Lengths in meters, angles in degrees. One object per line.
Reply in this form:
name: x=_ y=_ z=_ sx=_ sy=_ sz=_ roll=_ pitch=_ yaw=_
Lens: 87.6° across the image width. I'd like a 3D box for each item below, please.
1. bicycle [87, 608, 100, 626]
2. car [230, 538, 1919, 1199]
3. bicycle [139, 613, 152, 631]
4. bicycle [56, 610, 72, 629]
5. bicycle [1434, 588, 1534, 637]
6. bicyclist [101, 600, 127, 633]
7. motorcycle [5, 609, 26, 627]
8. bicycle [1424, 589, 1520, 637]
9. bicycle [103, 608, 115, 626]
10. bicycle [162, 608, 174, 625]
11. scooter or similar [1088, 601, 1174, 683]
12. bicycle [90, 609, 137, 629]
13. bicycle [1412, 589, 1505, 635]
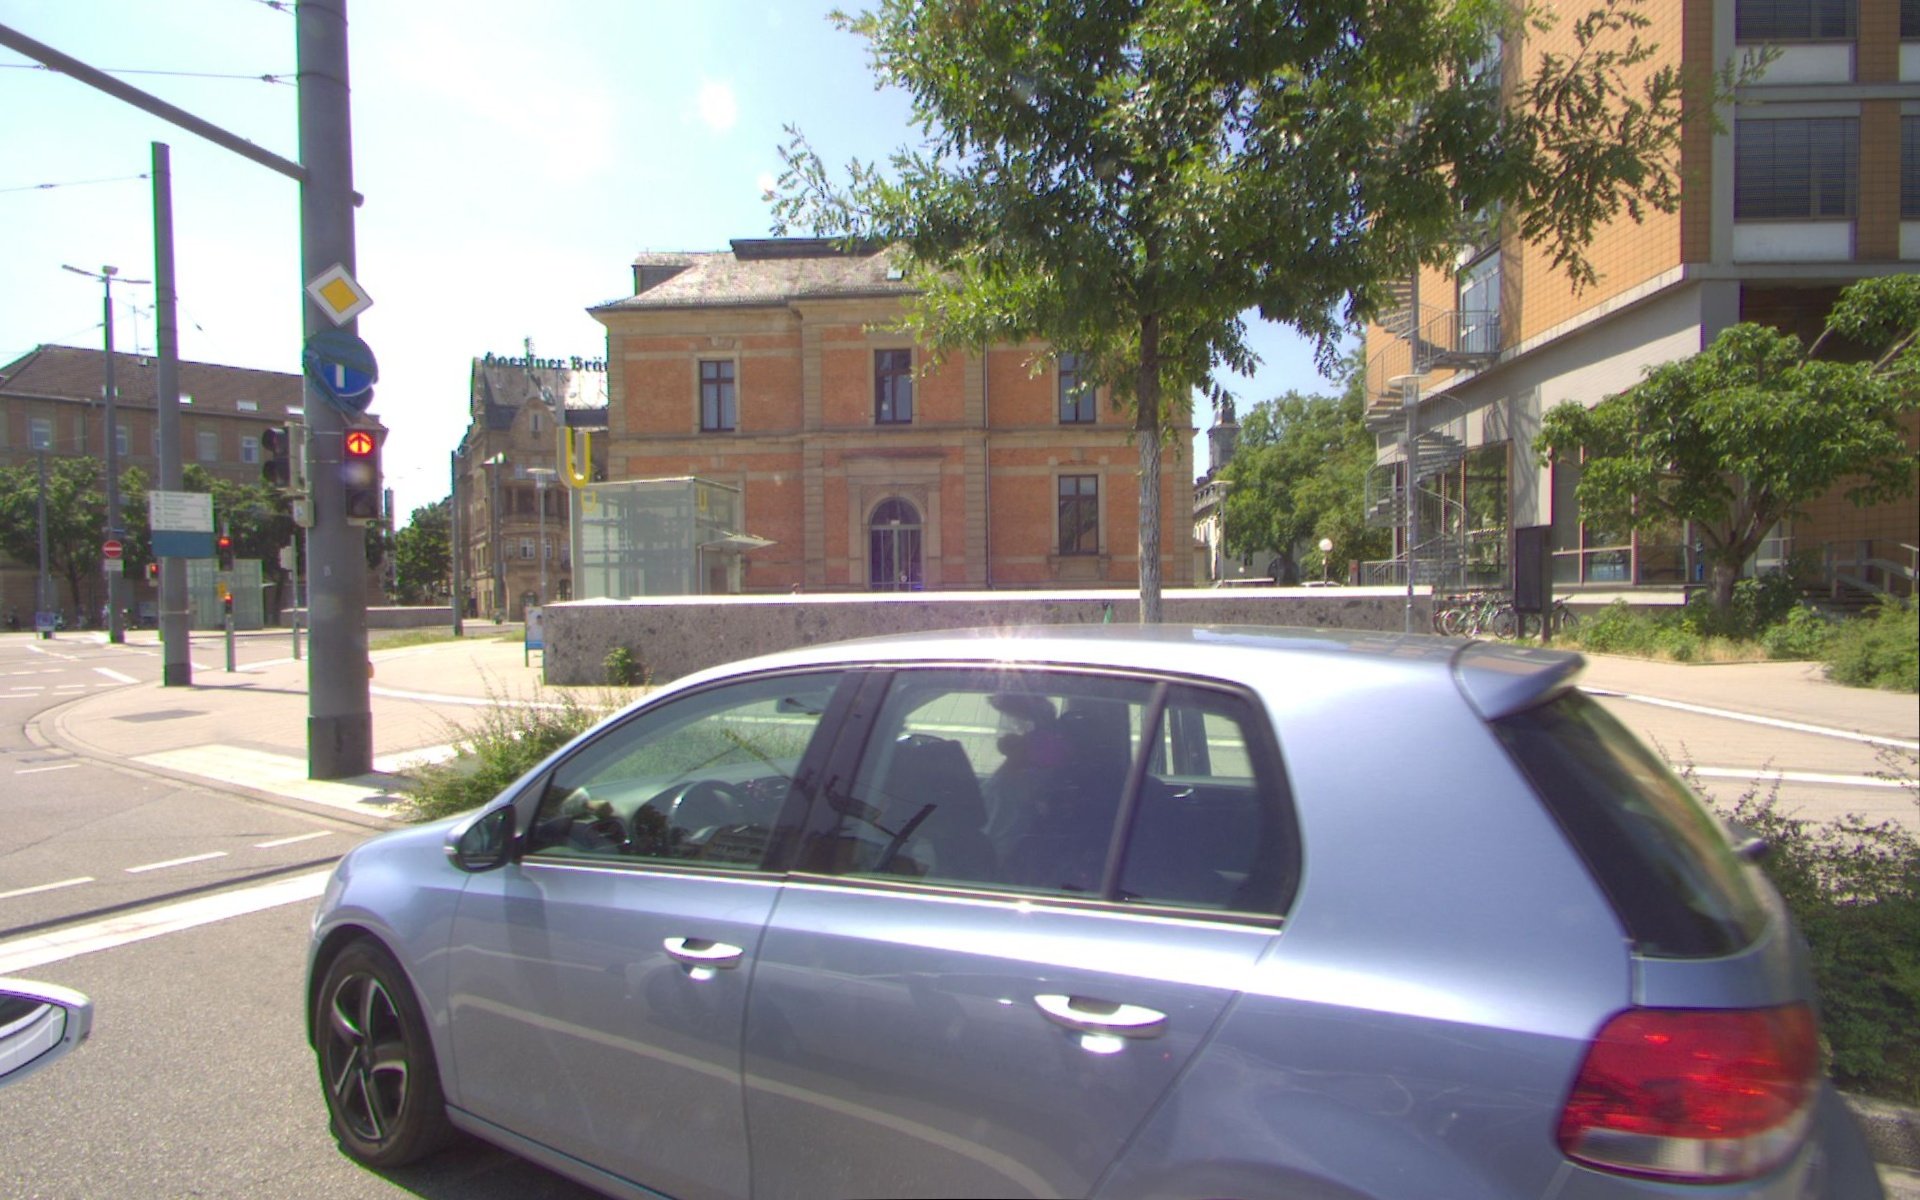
bicycle: x=-54.091 y=1.045 z=62.501 sx=0.547 sy=1.135 sz=1.803 roll=-1 pitch=1 yaw=-43
car: x=-0.114 y=0.707 z=2.676 sx=3.946 sy=1.478 sz=1.648 roll=0 pitch=-1 yaw=33
bicycle: x=-52.710 y=1.394 z=64.811 sx=0.547 sy=1.135 sz=1.854 roll=-1 pitch=1 yaw=-41
bicycle: x=-55.357 y=1.206 z=61.847 sx=2.069 sy=1.160 sz=0.440 roll=-2 pitch=-2 yaw=39
bicycle: x=13.430 y=0.324 z=25.711 sx=2.175 sy=1.234 sz=0.637 roll=0 pitch=-1 yaw=5
bicyclist: x=-47.687 y=0.950 z=56.437 sx=0.469 sy=1.831 sz=1.064 roll=0 pitch=-1 yaw=8
motorcycle: x=-56.275 y=1.061 z=59.675 sx=1.920 sy=1.089 sz=0.578 roll=0 pitch=1 yaw=36
bicycle: x=13.526 y=0.349 z=26.493 sx=2.175 sy=1.234 sz=0.637 roll=0 pitch=-1 yaw=5
bicycle: x=-53.468 y=1.054 z=62.936 sx=0.547 sy=1.135 sz=1.804 roll=-1 pitch=1 yaw=-41
bicycle: x=-52.006 y=1.079 z=65.734 sx=0.547 sy=1.135 sz=1.912 roll=-1 pitch=1 yaw=-41
scooter or similar: x=2.529 y=0.612 z=14.811 sx=1.227 sy=1.186 sz=0.458 roll=0 pitch=1 yaw=13
bicycle: x=-47.688 y=1.061 z=56.443 sx=0.679 sy=1.066 sz=2.112 roll=0 pitch=0 yaw=8
bicycle: x=13.573 y=0.325 z=27.297 sx=2.175 sy=1.234 sz=0.637 roll=0 pitch=-1 yaw=5
